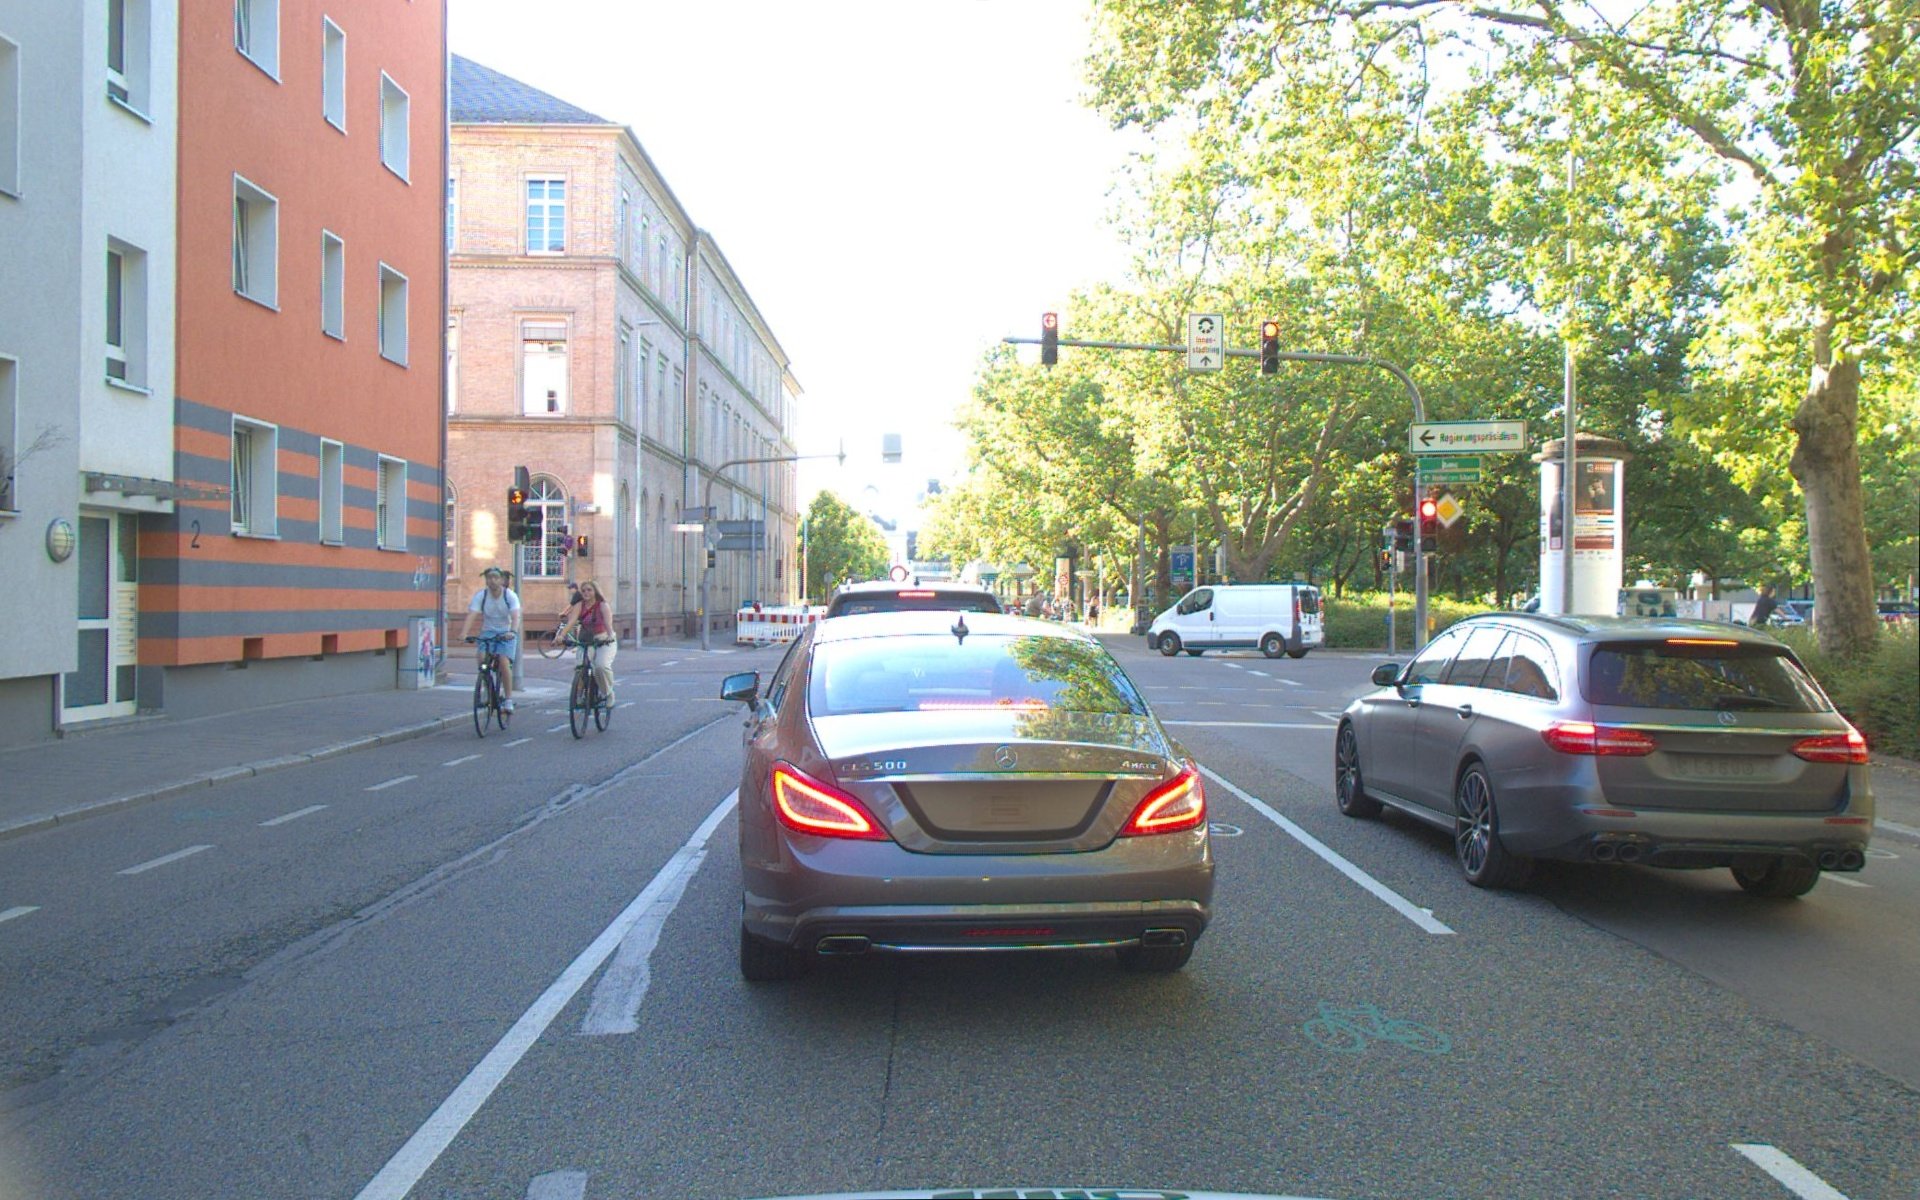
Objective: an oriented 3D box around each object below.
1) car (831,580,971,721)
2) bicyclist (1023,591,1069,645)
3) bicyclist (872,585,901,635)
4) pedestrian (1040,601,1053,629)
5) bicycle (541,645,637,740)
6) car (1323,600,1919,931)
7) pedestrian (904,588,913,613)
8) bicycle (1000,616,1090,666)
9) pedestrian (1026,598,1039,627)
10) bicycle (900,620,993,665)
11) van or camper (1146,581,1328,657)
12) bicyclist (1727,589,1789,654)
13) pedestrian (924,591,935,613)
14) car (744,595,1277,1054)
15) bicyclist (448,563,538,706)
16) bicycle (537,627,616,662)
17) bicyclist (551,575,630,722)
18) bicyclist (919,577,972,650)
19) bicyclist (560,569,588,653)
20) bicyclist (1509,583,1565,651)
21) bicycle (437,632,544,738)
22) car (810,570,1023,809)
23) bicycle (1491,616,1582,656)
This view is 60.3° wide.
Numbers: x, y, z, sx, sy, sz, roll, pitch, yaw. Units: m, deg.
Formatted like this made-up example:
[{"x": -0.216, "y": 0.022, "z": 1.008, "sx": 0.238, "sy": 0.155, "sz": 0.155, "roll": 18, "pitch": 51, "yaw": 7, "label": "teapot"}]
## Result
[{"x": -0.781, "y": 0.645, "z": 23.219, "sx": 1.783, "sy": 1.793, "sz": 3.999, "roll": 0, "pitch": 0, "yaw": -1, "label": "car"}, {"x": 1.874, "y": 0.388, "z": 36.167, "sx": 0.971, "sy": 1.174, "sz": 0.620, "roll": 0, "pitch": 0, "yaw": 1, "label": "bicyclist"}, {"x": -1.866, "y": 0.251, "z": 42.107, "sx": 0.689, "sy": 1.282, "sz": 0.458, "roll": 0, "pitch": 0, "yaw": 4, "label": "bicyclist"}, {"x": 4.528, "y": 0.797, "z": 86.251, "sx": 0.635, "sy": 1.458, "sz": 0.659, "roll": 0, "pitch": 0, "yaw": -1, "label": "pedestrian"}, {"x": -4.143, "y": 1.014, "z": 18.600, "sx": 0.679, "sy": 0.945, "sz": 1.863, "roll": 0, "pitch": 0, "yaw": -1, "label": "bicycle"}, {"x": 3.711, "y": 0.780, "z": 10.099, "sx": 1.874, "sy": 1.490, "sz": 4.668, "roll": 2, "pitch": 0, "yaw": -1, "label": "car"}, {"x": -4.048, "y": 0.008, "z": 129.917, "sx": 0.706, "sy": 1.935, "sz": 0.704, "roll": 0, "pitch": 0, "yaw": -1, "label": "pedestrian"}, {"x": 1.858, "y": 0.892, "z": 36.182, "sx": 1.939, "sy": 1.045, "sz": 0.652, "roll": 0, "pitch": 0, "yaw": 1, "label": "bicycle"}, {"x": 3.809, "y": 0.658, "z": 86.568, "sx": 0.635, "sy": 1.529, "sz": 0.637, "roll": 0, "pitch": 0, "yaw": -1, "label": "pedestrian"}, {"x": -0.286, "y": 0.892, "z": 34.804, "sx": 1.946, "sy": 0.919, "sz": 0.733, "roll": 0, "pitch": 0, "yaw": -1, "label": "bicycle"}, {"x": 7.532, "y": 0.479, "z": 45.028, "sx": 4.495, "sy": 1.975, "sz": 1.996, "roll": 1, "pitch": 0, "yaw": 31, "label": "van or camper"}, {"x": 17.859, "y": 0.474, "z": 37.011, "sx": 1.080, "sy": 1.427, "sz": 0.658, "roll": 0, "pitch": 0, "yaw": 3, "label": "bicyclist"}, {"x": -2.280, "y": 0.142, "z": 123.527, "sx": 0.785, "sy": 1.604, "sz": 0.844, "roll": 1, "pitch": 0, "yaw": -1, "label": "pedestrian"}, {"x": -0.092, "y": 0.729, "z": 7.653, "sx": 1.769, "sy": 1.482, "sz": 4.343, "roll": 1, "pitch": 0, "yaw": -8, "label": "car"}, {"x": -5.289, "y": 0.385, "z": 18.787, "sx": 0.826, "sy": 1.582, "sz": 0.838, "roll": 0, "pitch": 0, "yaw": -5, "label": "bicyclist"}, {"x": -9.460, "y": 1.103, "z": 40.808, "sx": 1.856, "sy": 0.851, "sz": 0.457, "roll": 0, "pitch": 0, "yaw": -9, "label": "bicycle"}, {"x": -4.143, "y": 0.534, "z": 18.601, "sx": 0.671, "sy": 1.605, "sz": 0.982, "roll": 0, "pitch": 0, "yaw": -1, "label": "bicyclist"}, {"x": -0.300, "y": 0.285, "z": 34.815, "sx": 1.094, "sy": 1.516, "sz": 0.711, "roll": 0, "pitch": 0, "yaw": -1, "label": "bicyclist"}, {"x": -9.520, "y": 0.272, "z": 40.804, "sx": 0.640, "sy": 2.049, "sz": 0.439, "roll": 0, "pitch": 0, "yaw": -8, "label": "bicyclist"}, {"x": 13.279, "y": 0.376, "z": 38.090, "sx": 1.052, "sy": 1.546, "sz": 0.717, "roll": 0, "pitch": 0, "yaw": 4, "label": "bicyclist"}, {"x": -5.302, "y": 0.938, "z": 18.775, "sx": 0.846, "sy": 1.097, "sz": 1.834, "roll": 1, "pitch": 0, "yaw": -6, "label": "bicycle"}, {"x": -0.400, "y": 0.632, "z": 13.644, "sx": 1.487, "sy": 1.675, "sz": 3.878, "roll": 1, "pitch": 0, "yaw": -3, "label": "car"}, {"x": 13.268, "y": 0.823, "z": 38.089, "sx": 1.853, "sy": 0.898, "sz": 0.726, "roll": 1, "pitch": 0, "yaw": 3, "label": "bicycle"}]
